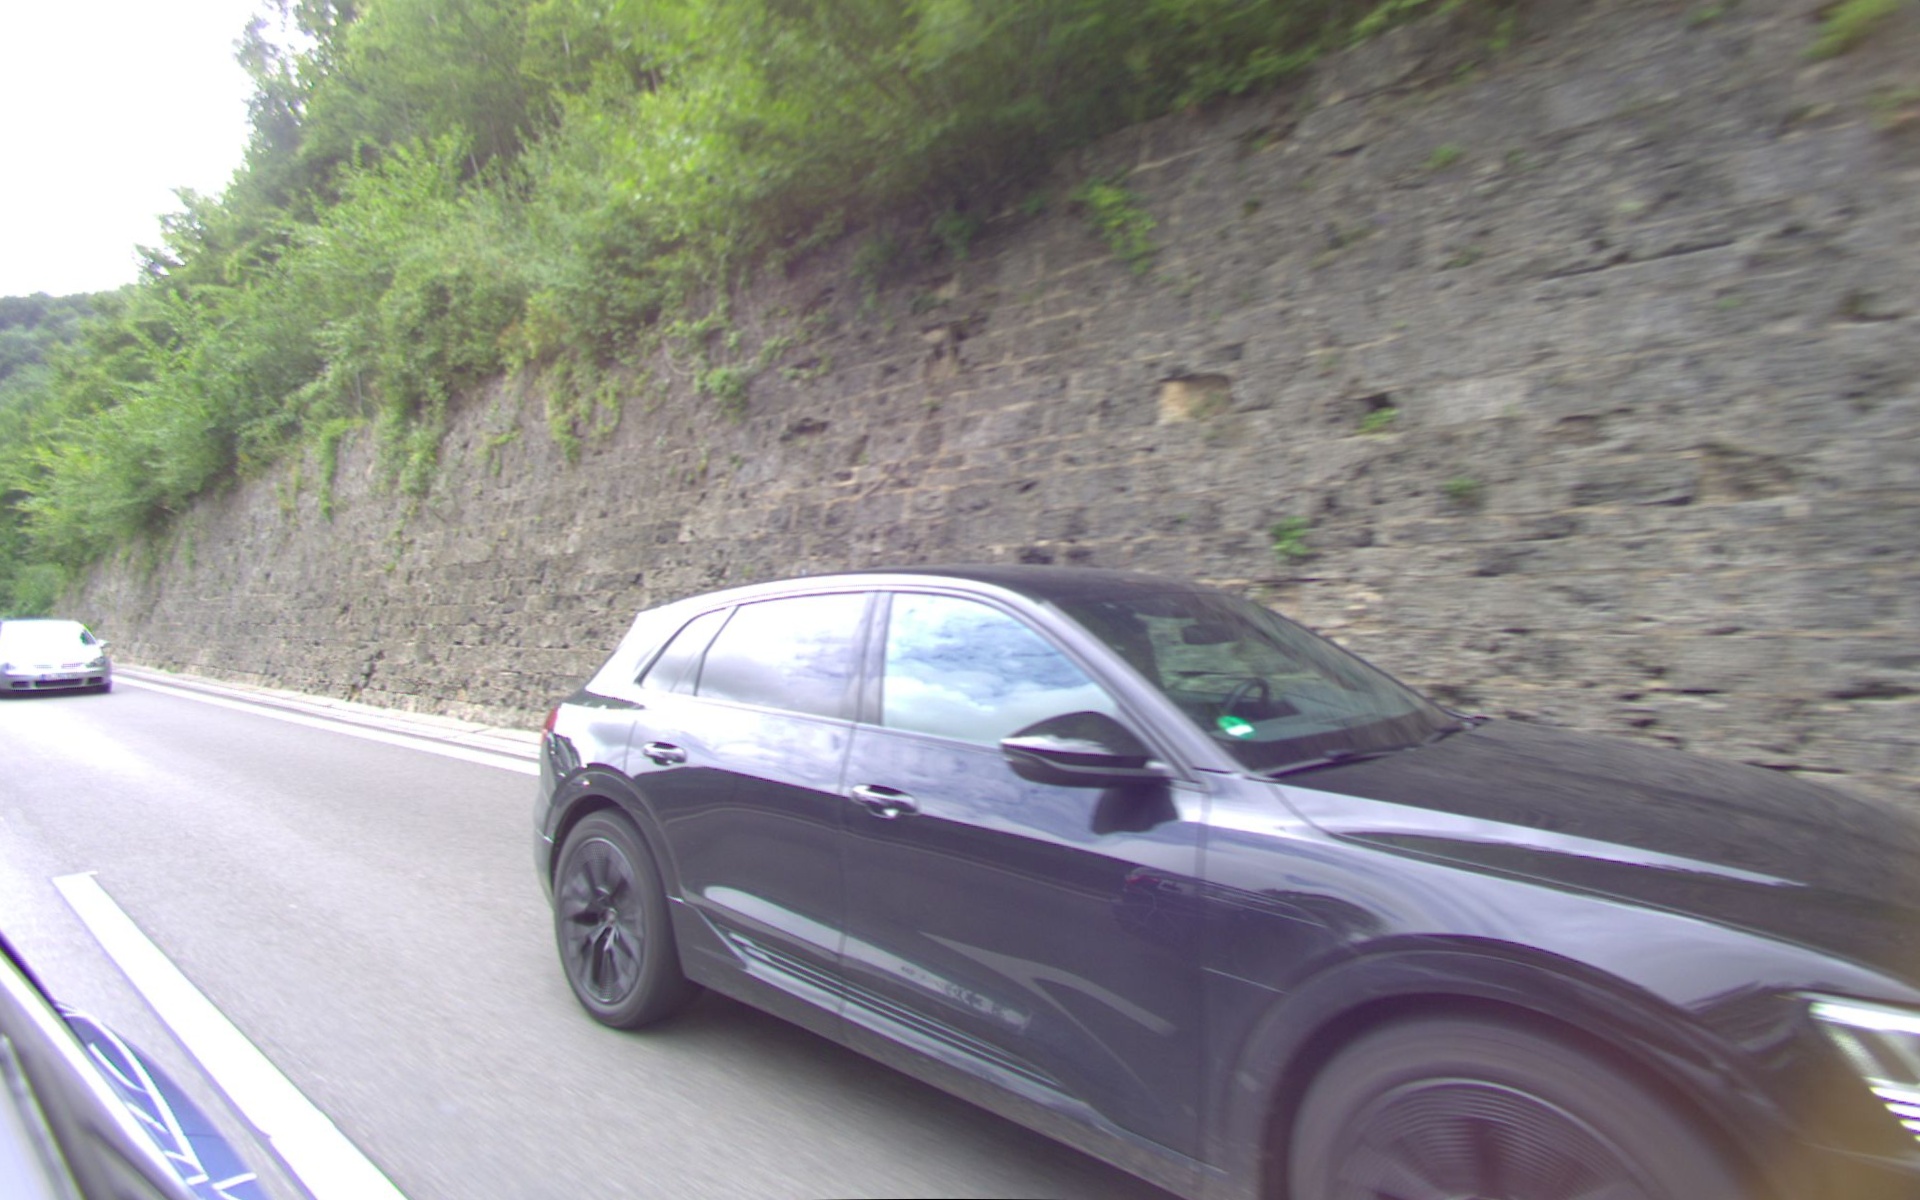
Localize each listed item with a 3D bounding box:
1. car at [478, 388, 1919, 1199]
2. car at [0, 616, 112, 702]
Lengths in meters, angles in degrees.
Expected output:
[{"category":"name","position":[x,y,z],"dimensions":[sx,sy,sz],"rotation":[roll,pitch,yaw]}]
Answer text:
[{"category":"car","position":[0.577,0.600,3.127],"dimensions":[5.007,1.644,1.972],"rotation":[-1,-2,42]},{"category":"car","position":[-18.846,1.137,20.590],"dimensions":[4.579,1.526,1.664],"rotation":[-2,0,40]}]
